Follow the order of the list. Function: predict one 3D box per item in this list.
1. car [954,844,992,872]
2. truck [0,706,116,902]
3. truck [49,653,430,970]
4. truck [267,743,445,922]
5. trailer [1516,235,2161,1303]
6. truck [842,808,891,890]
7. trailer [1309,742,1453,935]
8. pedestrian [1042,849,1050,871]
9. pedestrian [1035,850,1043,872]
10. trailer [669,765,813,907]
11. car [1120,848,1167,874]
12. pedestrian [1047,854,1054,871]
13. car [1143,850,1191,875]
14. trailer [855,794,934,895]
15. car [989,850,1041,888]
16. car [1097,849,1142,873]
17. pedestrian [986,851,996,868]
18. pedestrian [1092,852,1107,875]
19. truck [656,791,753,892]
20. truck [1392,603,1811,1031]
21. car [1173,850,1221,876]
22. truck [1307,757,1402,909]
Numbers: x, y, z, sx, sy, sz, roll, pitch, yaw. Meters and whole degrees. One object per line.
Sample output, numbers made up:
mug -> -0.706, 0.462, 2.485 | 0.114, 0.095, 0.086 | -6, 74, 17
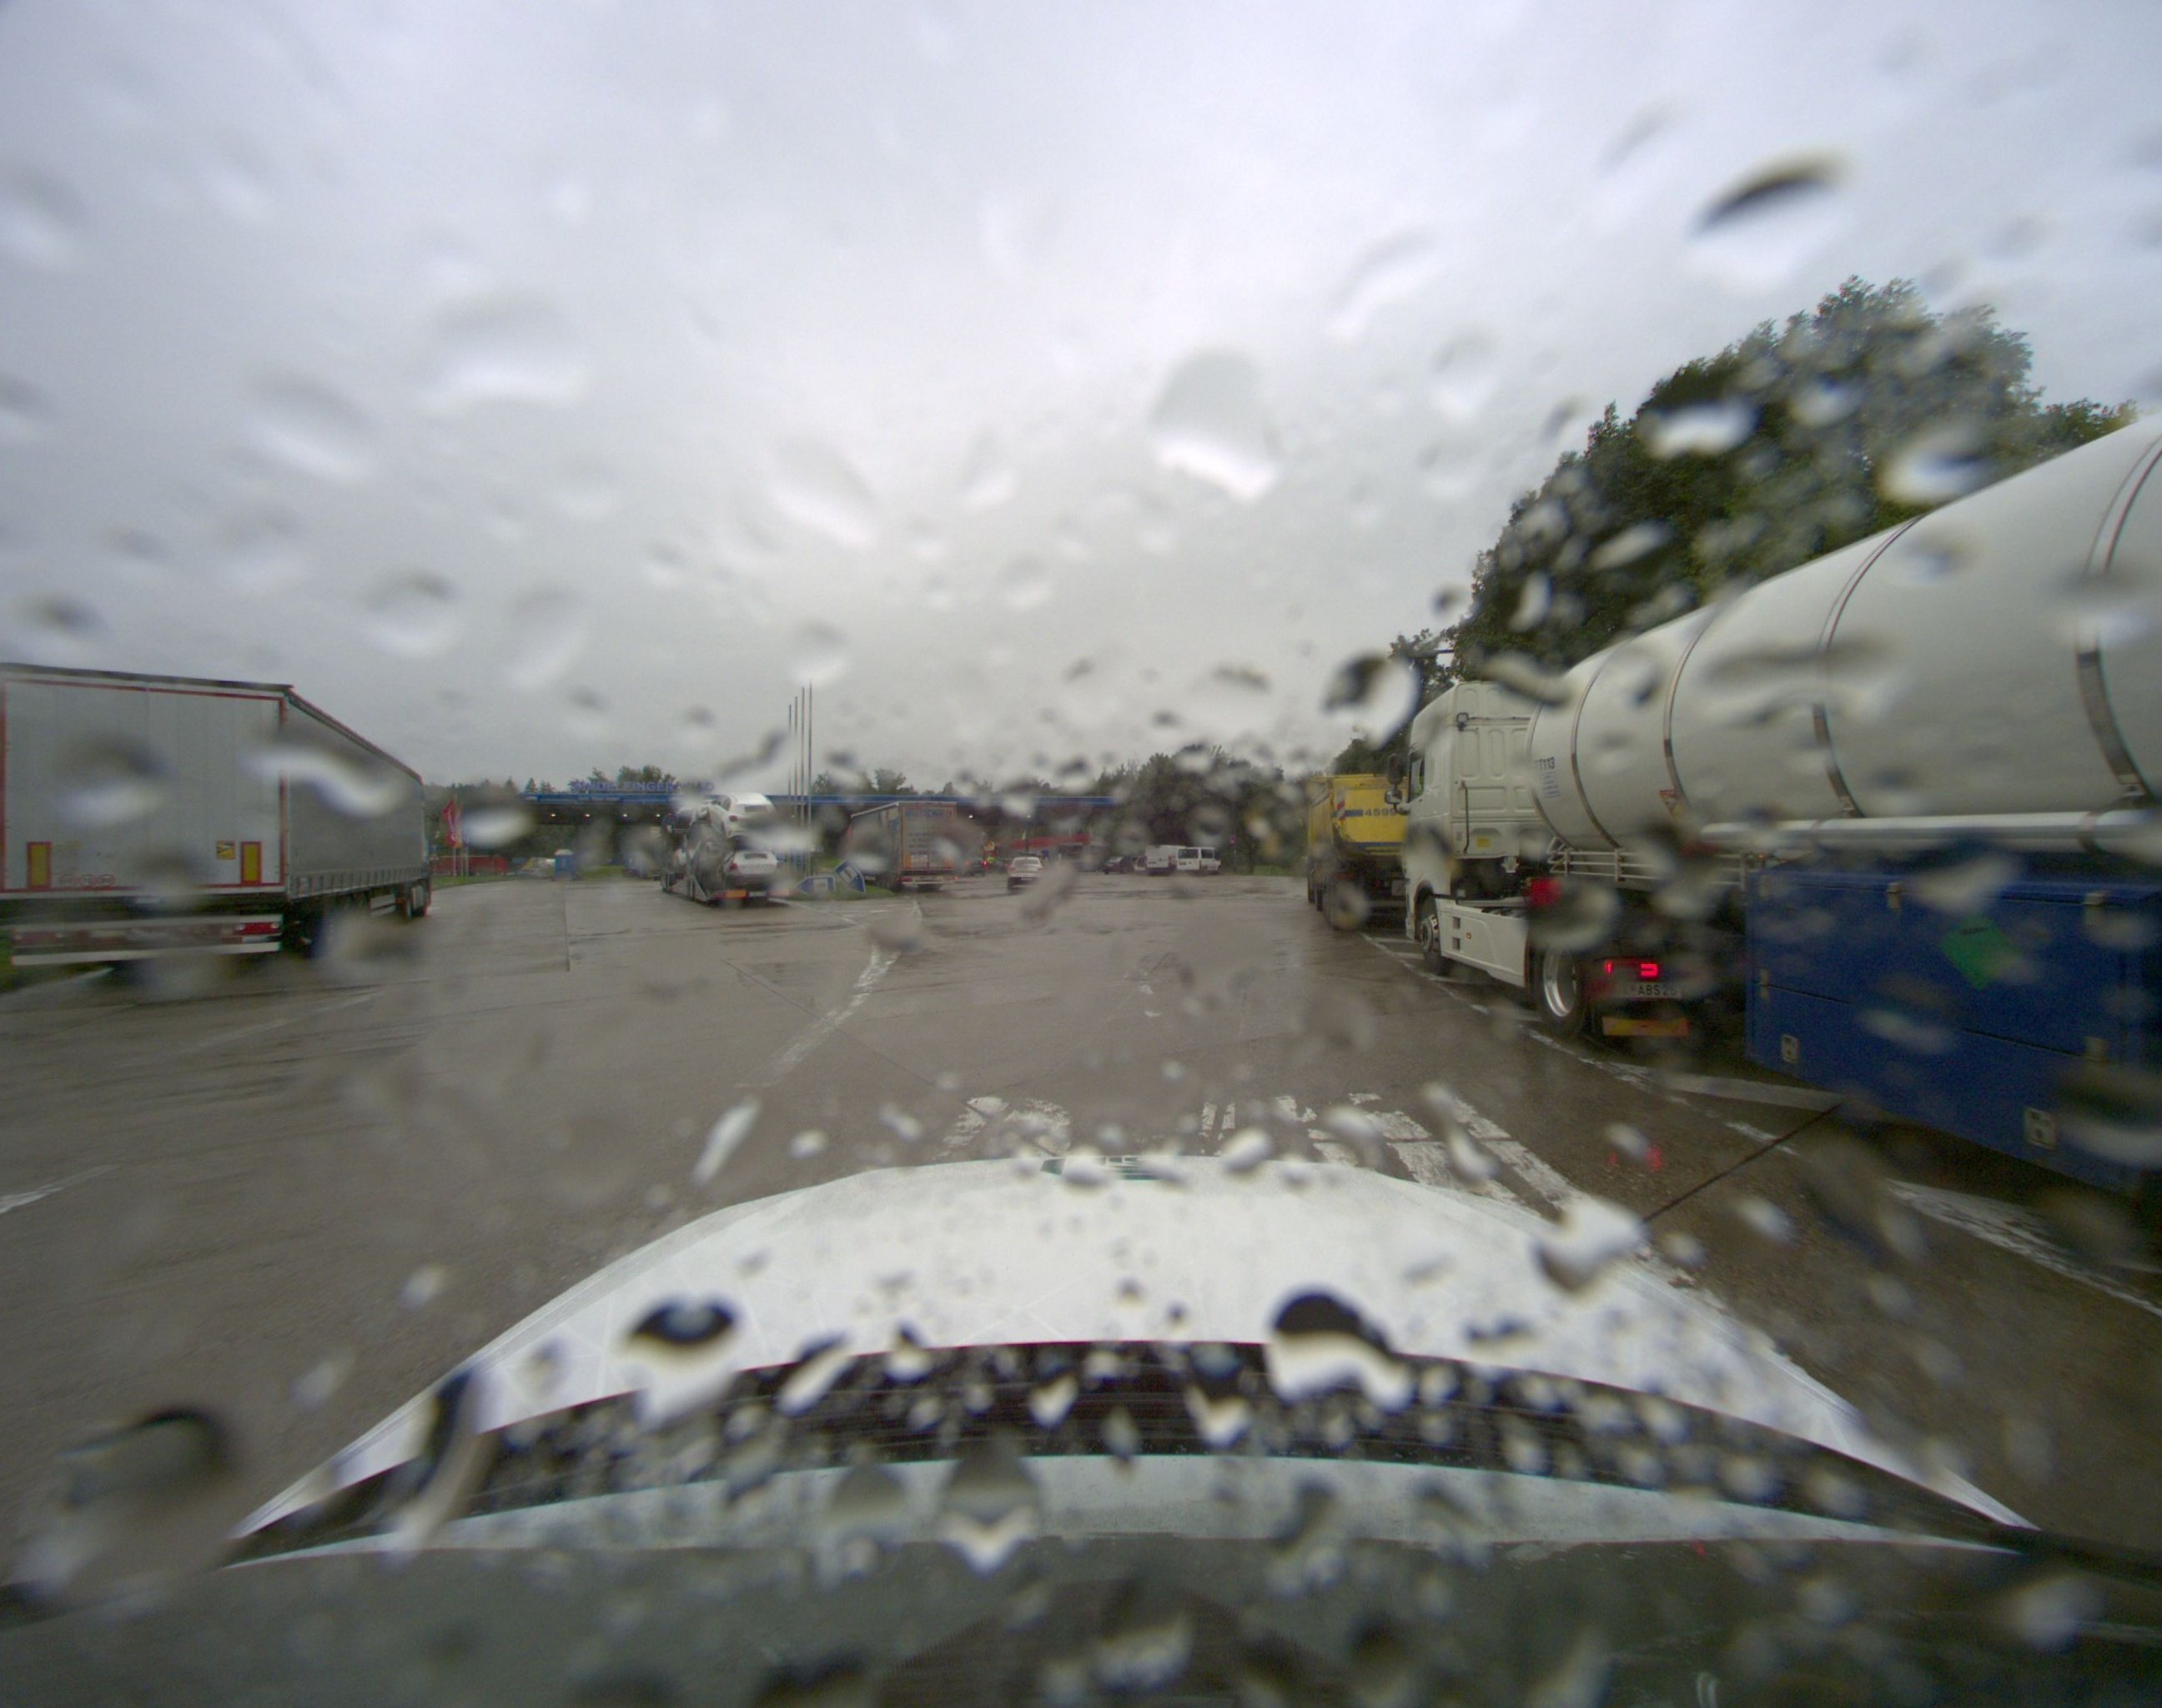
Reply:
car -> -8.638, 0.386, 65.153 | 2.002, 2.014, 3.969 | 3, -4, -23
truck -> -34.526, -1.310, 24.751 | 4.831, 5.305, 10.940 | 0, 0, -40
truck -> -14.955, -0.500, 15.785 | 2.387, 3.874, 12.325 | -1, 0, -33
truck -> -18.466, -0.457, 21.184 | 2.387, 3.874, 6.939 | -1, 0, -33
trailer -> 4.529, -0.277, 2.431 | 2.120, 3.440, 10.273 | -1, 0, 7
truck -> -12.741, -0.240, 48.077 | 1.998, 4.550, 4.755 | 0, -1, -25
trailer -> 6.373, -0.271, 18.237 | 2.167, 3.392, 7.592 | -1, 0, 14
pedestrian -> -3.200, 0.541, 75.314 | 0.667, 2.014, 0.742 | 1, -4, 1
pedestrian -> -3.955, 0.645, 76.486 | 0.586, 2.014, 0.635 | 2, -4, -8
trailer -> -12.763, -0.514, 29.734 | 3.236, 4.189, 11.416 | 1, -1, -31
car -> 4.847, 0.545, 62.964 | 2.093, 1.937, 4.217 | -1, 0, 28
pedestrian -> -2.715, 0.753, 72.721 | 0.607, 1.539, 0.593 | 0, -2, -7
car -> 6.356, 0.623, 59.646 | 2.093, 1.728, 4.024 | -1, 0, 28
trailer -> -9.705, -0.360, 41.525 | 2.003, 4.559, 9.728 | 0, -1, -25
car -> -3.174, 0.689, 38.758 | 1.995, 1.679, 3.984 | 0, 0, -12
car -> 3.184, 0.559, 67.051 | 2.093, 1.937, 4.217 | -1, 0, 28
pedestrian -> -8.254, 0.534, 74.657 | 0.716, 1.522, 0.742 | 1, -4, 1
pedestrian -> 1.532, 0.777, 67.659 | 0.946, 1.920, 1.094 | -1, 0, 20
truck -> -17.854, -0.481, 38.251 | 3.255, 4.189, 8.360 | 1, -1, -31
truck -> 5.193, -0.286, 9.110 | 2.134, 3.513, 4.655 | -1, 0, 7
car -> 8.228, 0.609, 57.545 | 2.093, 1.728, 4.024 | -1, 0, 28
truck -> 7.508, -0.530, 22.754 | 2.165, 3.828, 4.157 | -1, 0, 14
